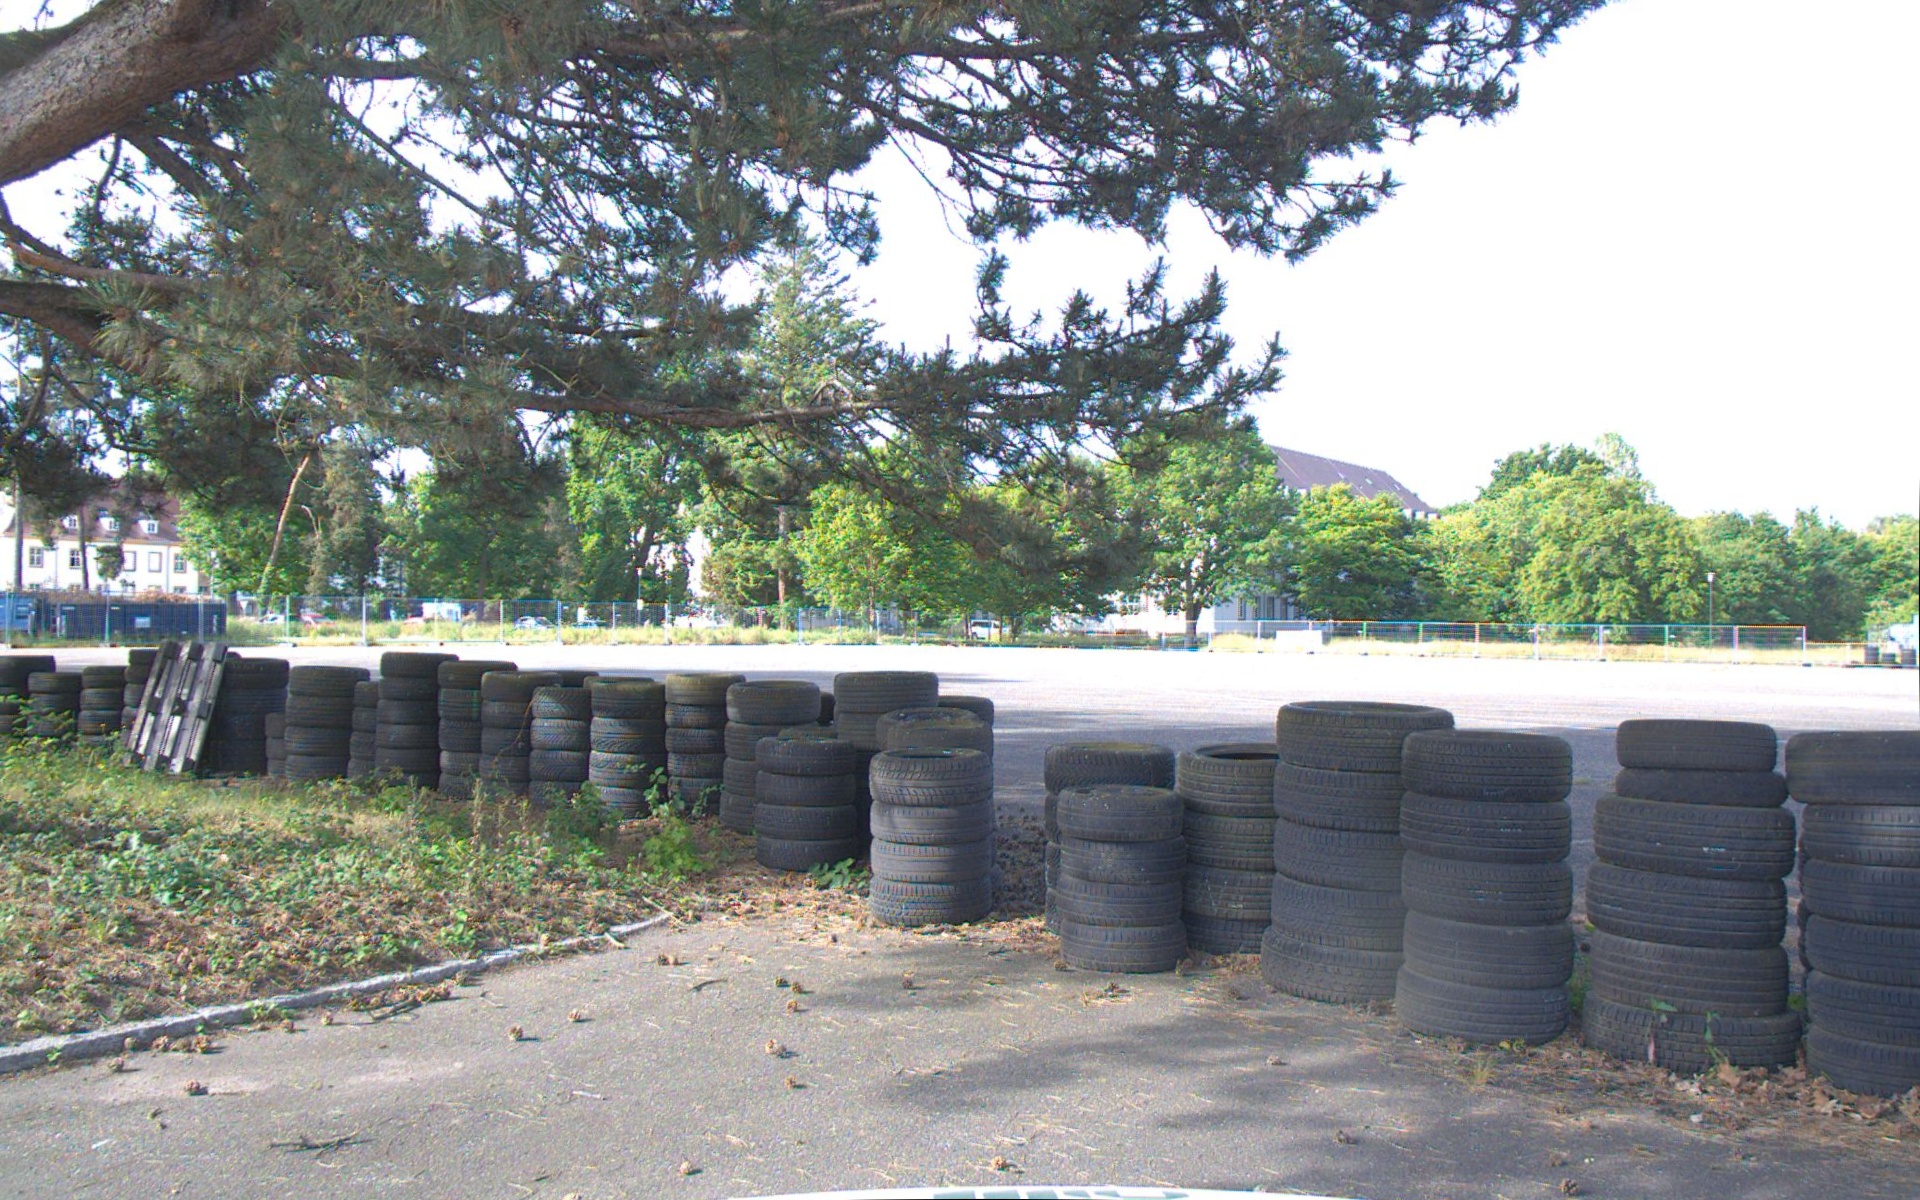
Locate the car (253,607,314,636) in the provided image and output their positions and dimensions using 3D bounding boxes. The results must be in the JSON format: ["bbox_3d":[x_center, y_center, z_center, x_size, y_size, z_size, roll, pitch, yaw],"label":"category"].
[{"bbox_3d":[-42.181,1.329,103.127,3.927,1.780,1.989,0,-1,41],"label":"car"}]

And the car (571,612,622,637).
[{"bbox_3d":[-27.197,1.814,123.673,1.985,1.780,3.935,1,-1,-44],"label":"car"}]

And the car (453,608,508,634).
[{"bbox_3d":[-33.428,1.463,115.265,3.931,1.780,1.987,0,-1,44],"label":"car"}]
